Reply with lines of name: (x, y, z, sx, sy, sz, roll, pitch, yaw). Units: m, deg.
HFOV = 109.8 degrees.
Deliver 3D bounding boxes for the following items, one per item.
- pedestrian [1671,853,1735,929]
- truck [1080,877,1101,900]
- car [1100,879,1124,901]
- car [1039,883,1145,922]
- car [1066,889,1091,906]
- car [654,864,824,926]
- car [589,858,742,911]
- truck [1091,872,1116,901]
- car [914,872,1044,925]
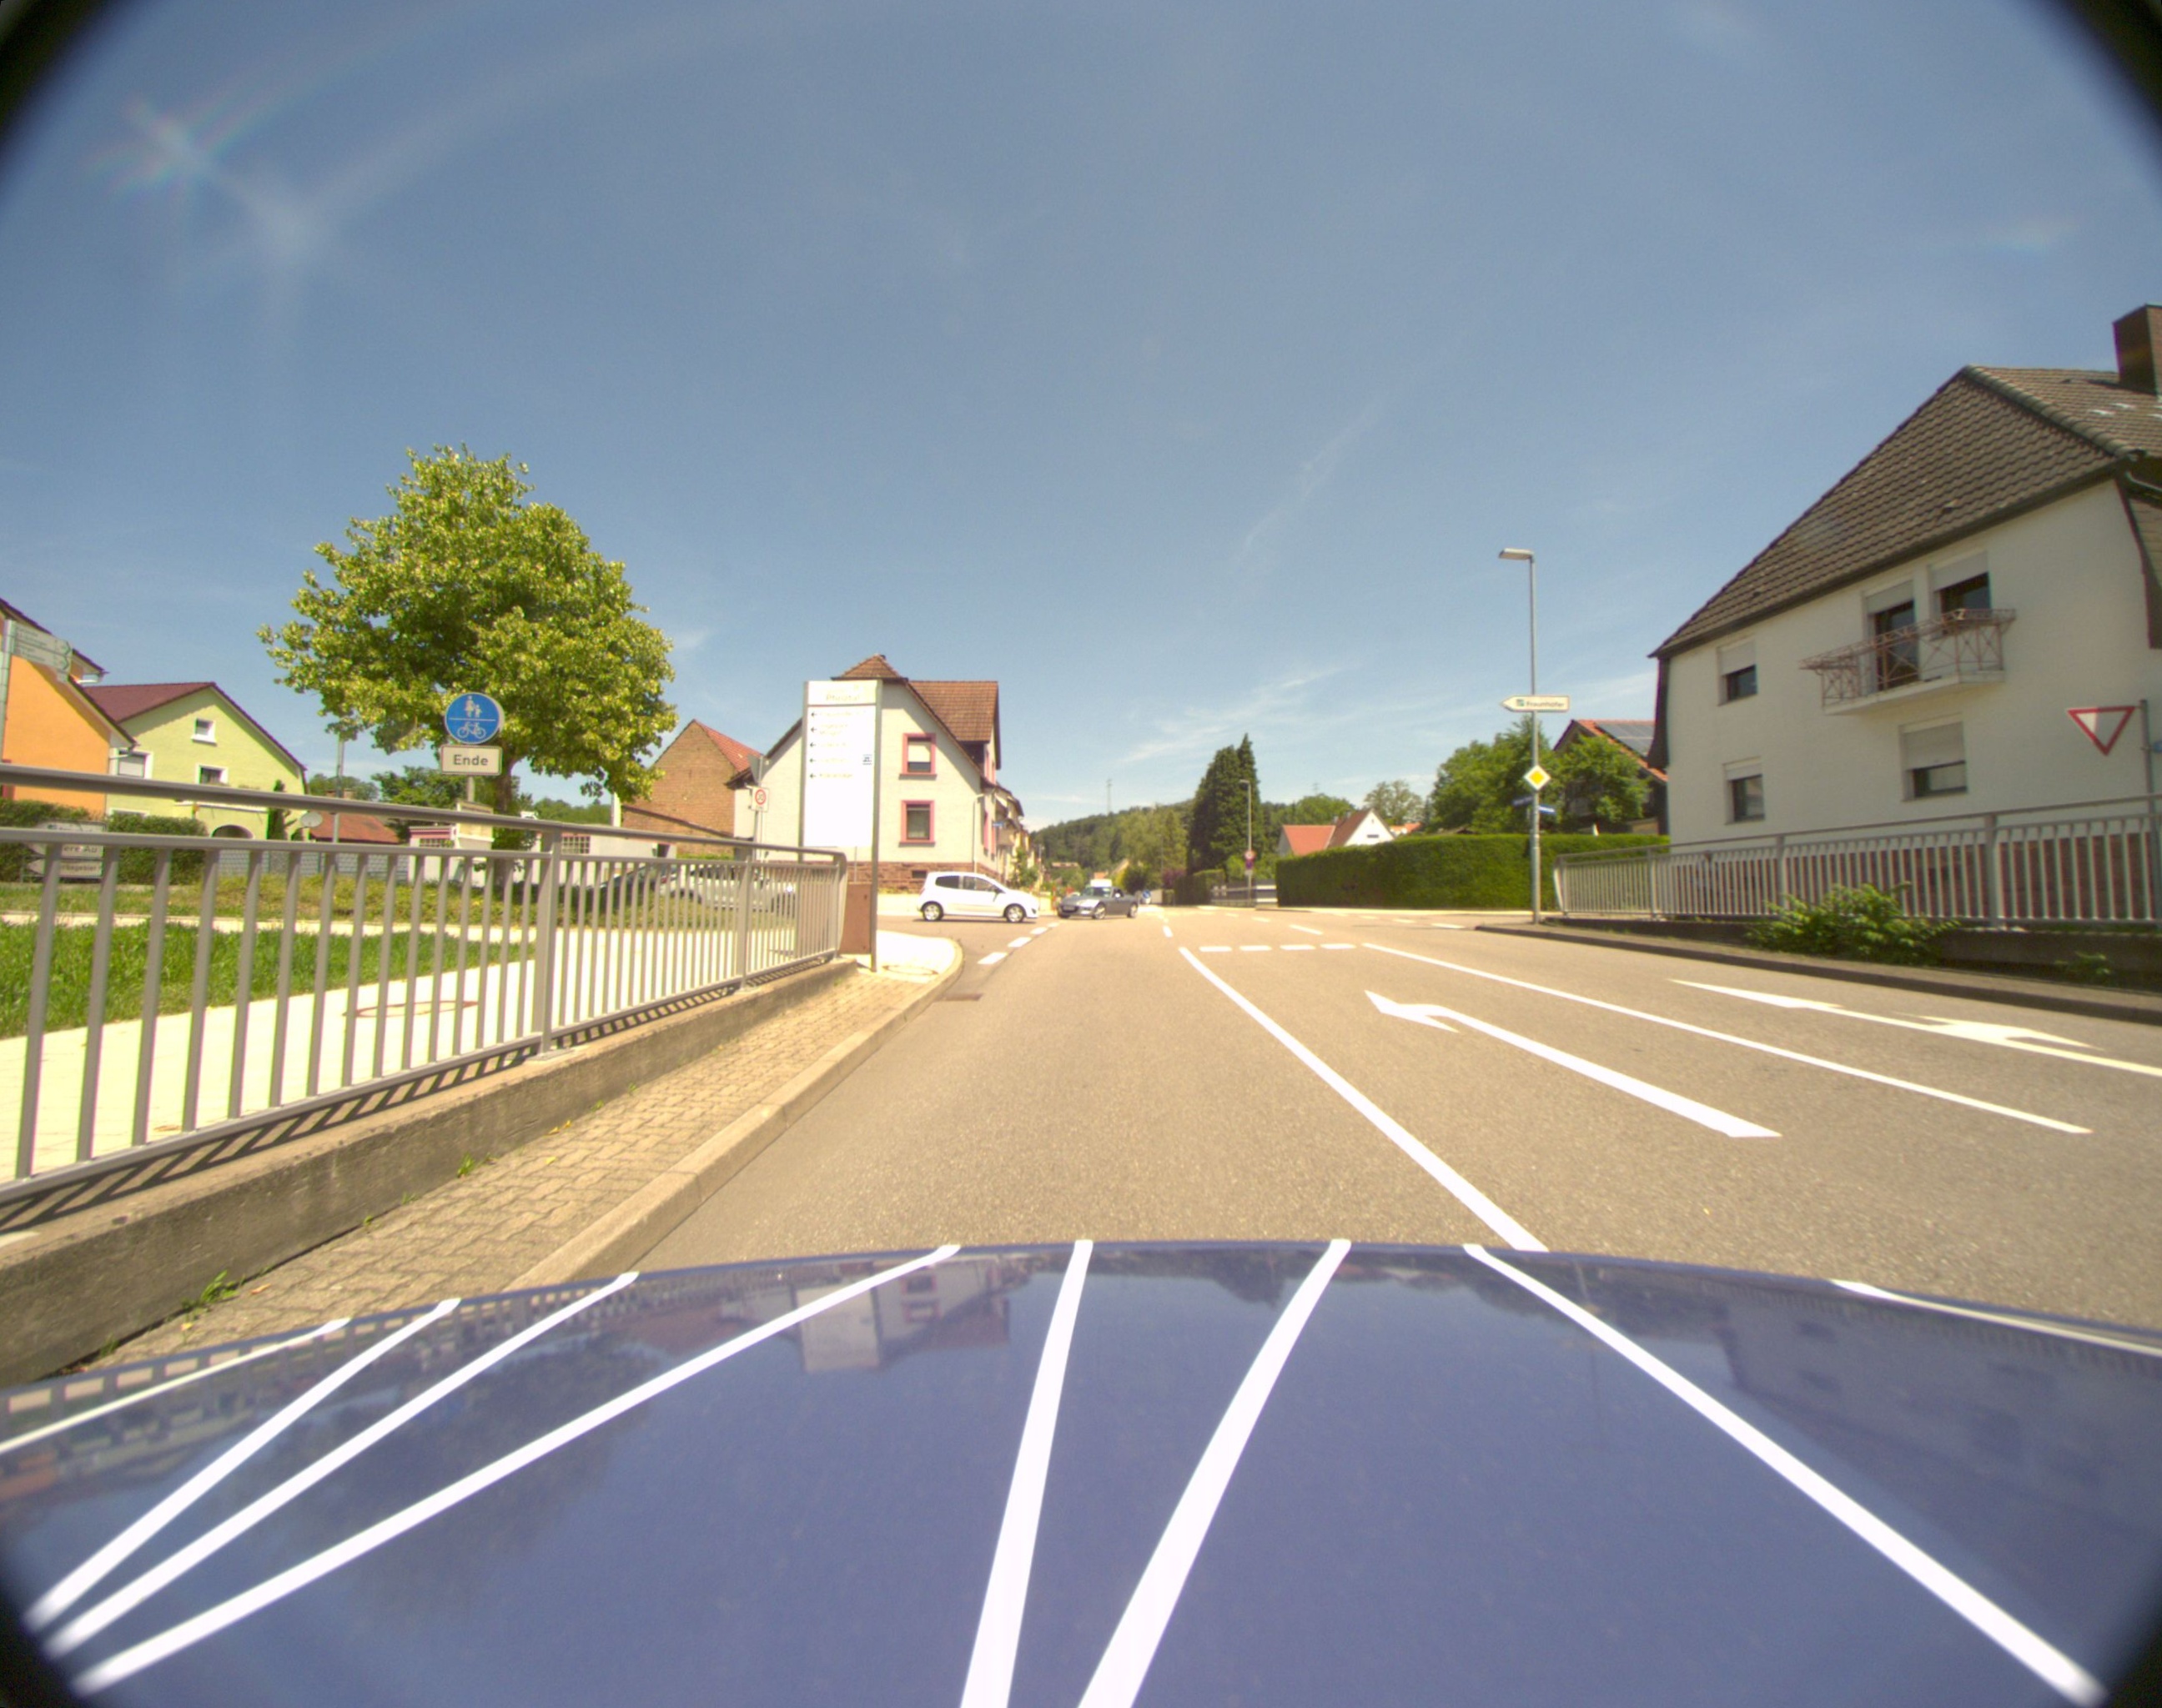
pedestrian: (14.544, 0.843, 17.780, 0.729, 1.719, 0.856, -2, 0, -3)
truck: (1.496, 5.727, 124.747, 3.149, 3.464, 8.276, -1, -3, -1)
car: (2.939, 3.383, 72.397, 1.999, 2.001, 4.549, -2, -2, -1)
car: (0.503, 1.757, 28.128, 1.906, 1.296, 4.166, -3, -3, 34)
car: (-0.184, 4.155, 72.445, 1.998, 1.509, 4.147, 4, -3, 4)
car: (-9.486, 1.167, 21.412, 4.131, 1.526, 1.773, 3, -2, -20)
car: (-13.384, 1.006, 24.532, 4.165, 1.579, 1.865, 1, -4, -34)
truck: (2.911, 4.330, 98.765, 3.149, 3.463, 8.280, -1, -5, 1)
car: (-2.998, 1.314, 22.734, 3.681, 1.469, 1.775, 1, -2, -6)
